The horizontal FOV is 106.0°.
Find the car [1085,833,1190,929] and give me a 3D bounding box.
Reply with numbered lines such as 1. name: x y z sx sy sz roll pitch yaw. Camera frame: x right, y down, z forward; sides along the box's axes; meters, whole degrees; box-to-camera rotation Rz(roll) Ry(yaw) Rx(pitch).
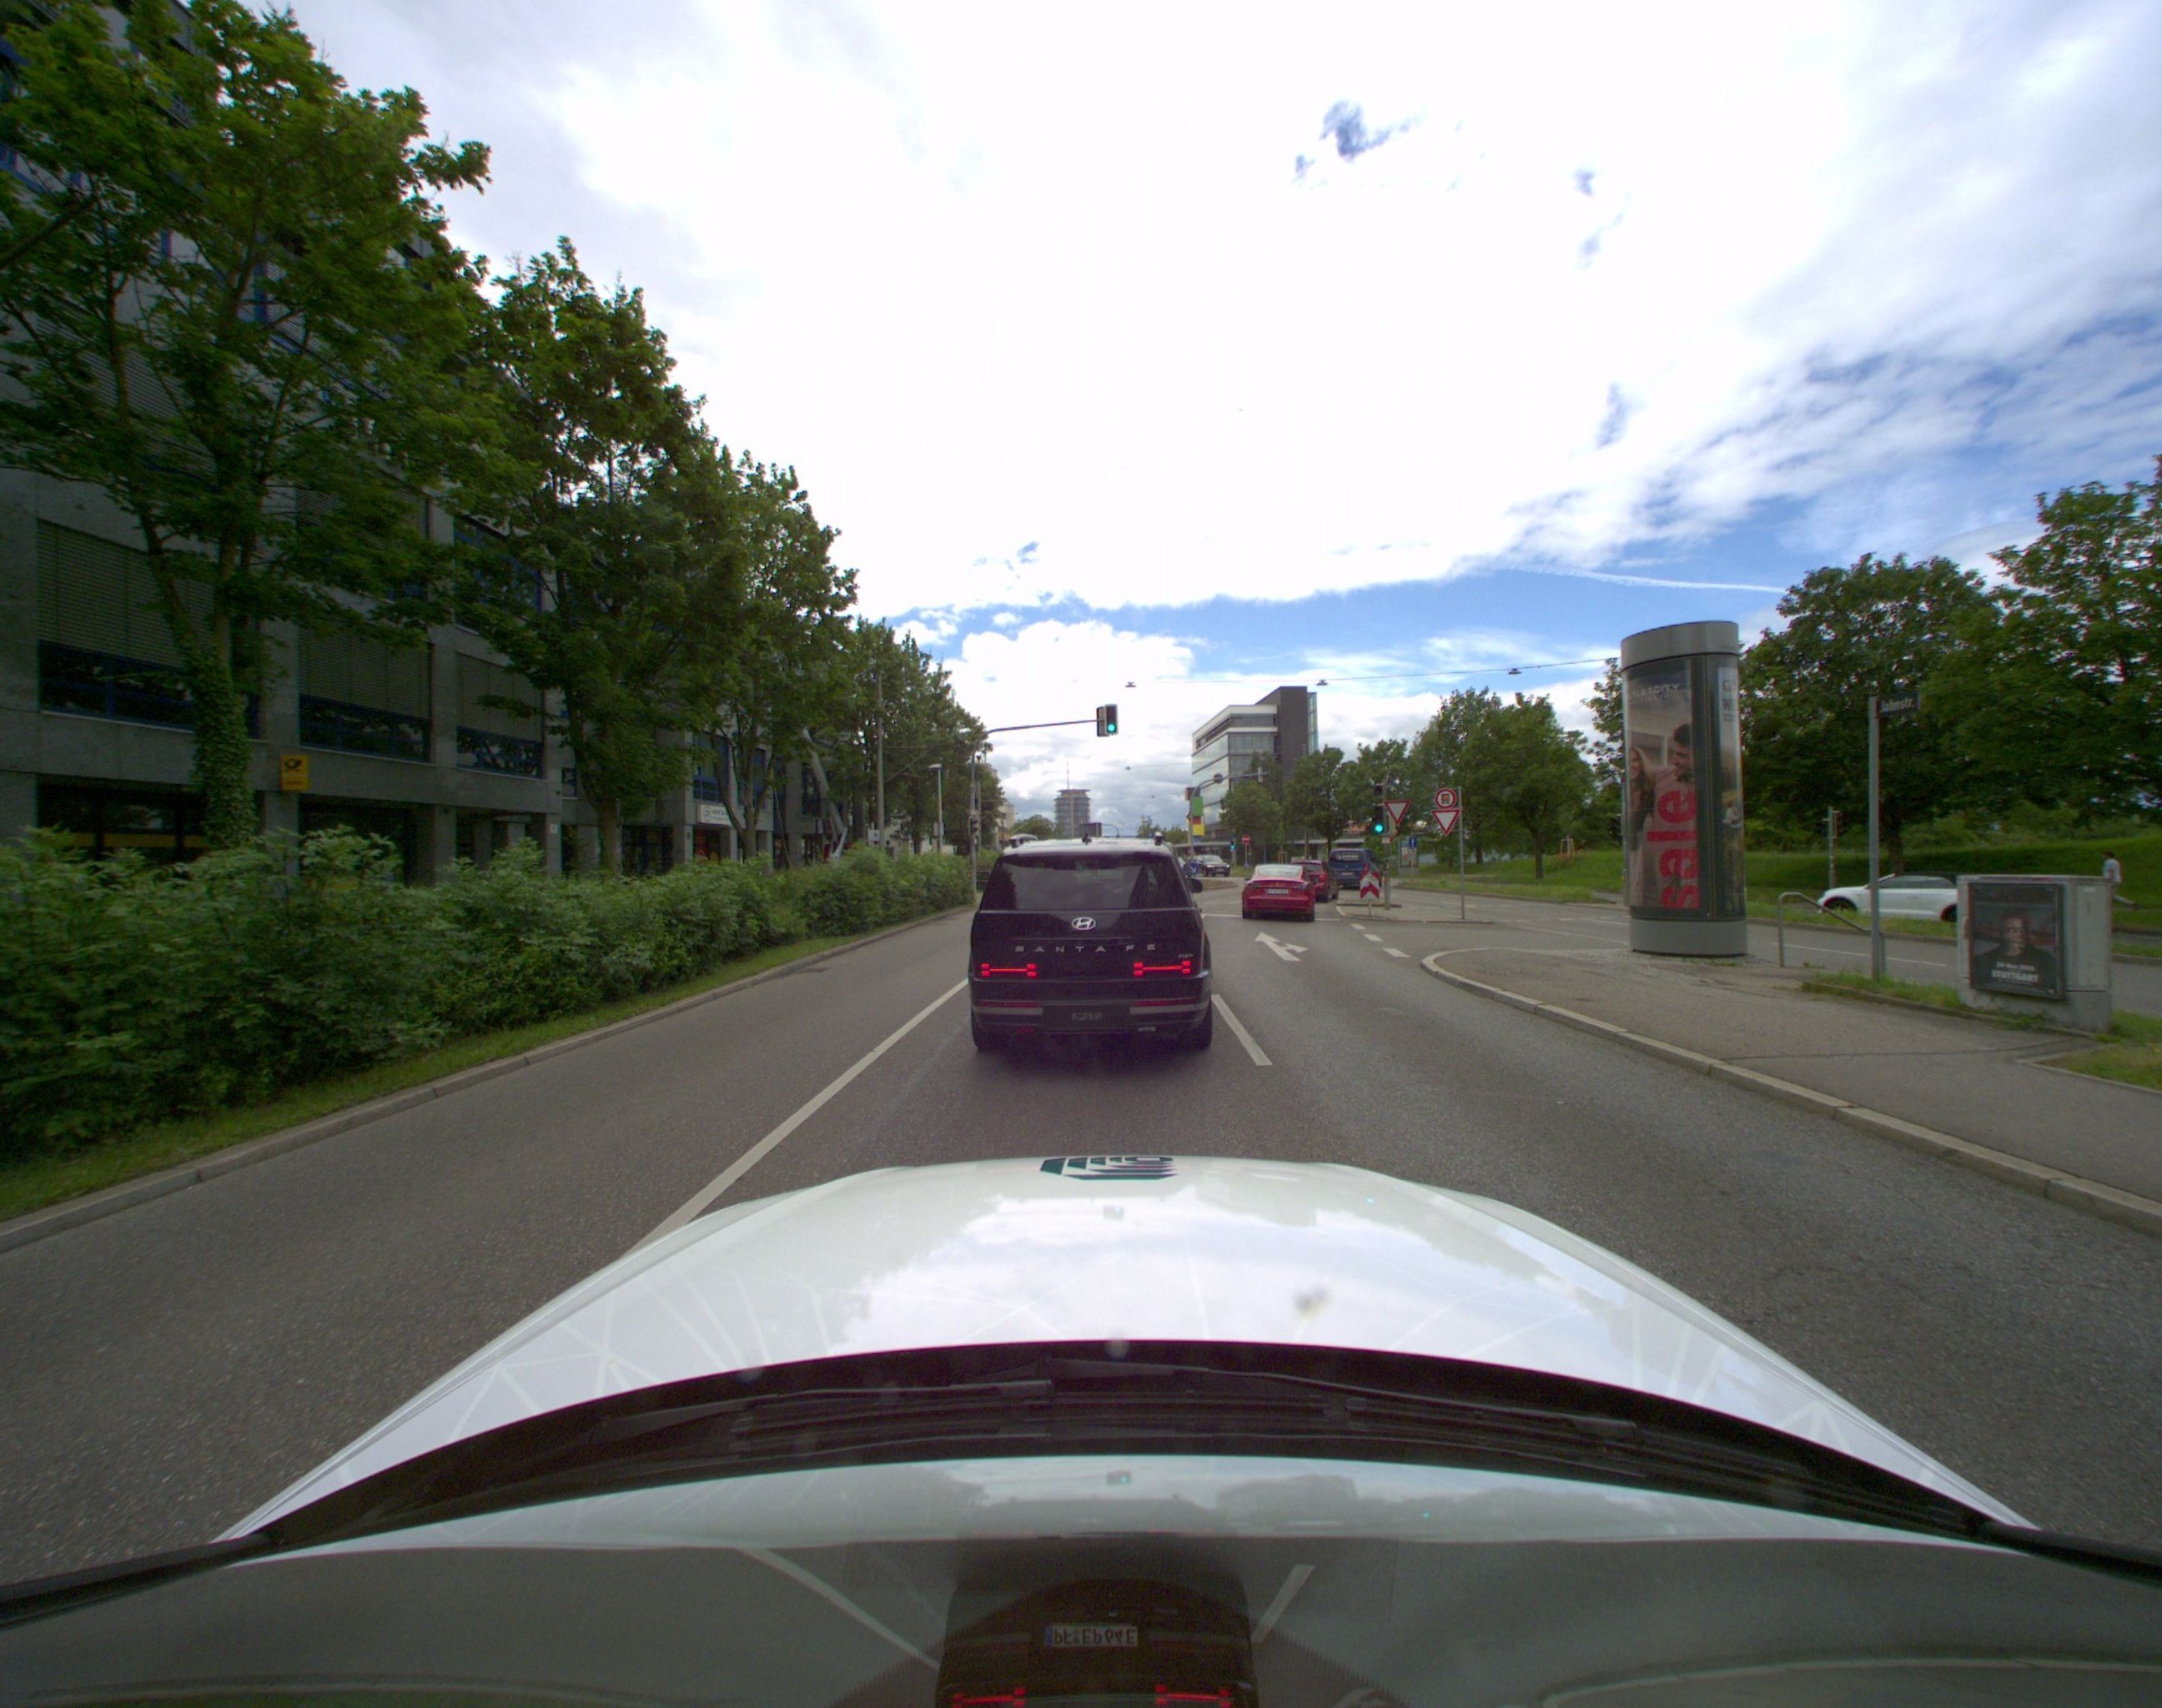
1. car: 1.475 0.564 19.202 1.890 1.969 4.650 0 0 11

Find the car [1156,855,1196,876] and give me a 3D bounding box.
1. car: 6.745 0.795 58.361 1.782 1.425 4.382 0 0 -9

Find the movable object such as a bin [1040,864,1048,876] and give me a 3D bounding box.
1. movable object such as a bin: -3.113 1.334 68.692 0.563 1.012 0.836 -1 -1 -8

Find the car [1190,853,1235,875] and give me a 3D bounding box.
1. car: 9.545 0.697 59.621 1.889 1.564 4.380 0 0 -11

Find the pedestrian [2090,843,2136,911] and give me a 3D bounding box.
1. pedestrian: 30.141 0.653 23.791 0.590 1.917 0.749 -6 4 -32

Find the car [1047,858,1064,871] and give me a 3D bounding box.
1. car: -3.161 1.354 101.888 1.781 1.537 4.386 0 0 -6

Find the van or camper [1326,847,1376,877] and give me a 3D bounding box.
1. van or camper: 17.746 0.481 53.791 1.986 1.917 4.411 0 1 2

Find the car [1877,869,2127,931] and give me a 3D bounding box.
1. car: 25.000 1.180 22.359 1.984 1.442 4.143 0 0 -11

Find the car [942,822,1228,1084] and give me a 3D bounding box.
1. car: 0.101 0.659 7.650 1.895 1.731 4.448 0 0 2

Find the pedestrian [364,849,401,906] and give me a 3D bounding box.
1. pedestrian: -16.664 0.551 19.434 0.364 1.334 0.558 2 0 -3

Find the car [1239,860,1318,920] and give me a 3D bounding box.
1. car: 5.479 0.902 22.237 1.858 1.418 4.462 0 0 17

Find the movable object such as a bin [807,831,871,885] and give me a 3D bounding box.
1. movable object such as a bin: -12.090 0.185 40.929 1.898 2.531 4.128 0 0 1

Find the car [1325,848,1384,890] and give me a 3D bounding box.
1. car: 13.092 0.683 38.809 1.884 1.859 4.738 0 0 28

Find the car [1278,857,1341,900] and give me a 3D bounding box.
1. car: 8.538 0.862 30.220 1.729 1.481 3.739 0 0 24

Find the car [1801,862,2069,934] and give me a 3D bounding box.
1. car: 21.624 1.035 20.933 1.850 1.529 4.472 0 1 -11
